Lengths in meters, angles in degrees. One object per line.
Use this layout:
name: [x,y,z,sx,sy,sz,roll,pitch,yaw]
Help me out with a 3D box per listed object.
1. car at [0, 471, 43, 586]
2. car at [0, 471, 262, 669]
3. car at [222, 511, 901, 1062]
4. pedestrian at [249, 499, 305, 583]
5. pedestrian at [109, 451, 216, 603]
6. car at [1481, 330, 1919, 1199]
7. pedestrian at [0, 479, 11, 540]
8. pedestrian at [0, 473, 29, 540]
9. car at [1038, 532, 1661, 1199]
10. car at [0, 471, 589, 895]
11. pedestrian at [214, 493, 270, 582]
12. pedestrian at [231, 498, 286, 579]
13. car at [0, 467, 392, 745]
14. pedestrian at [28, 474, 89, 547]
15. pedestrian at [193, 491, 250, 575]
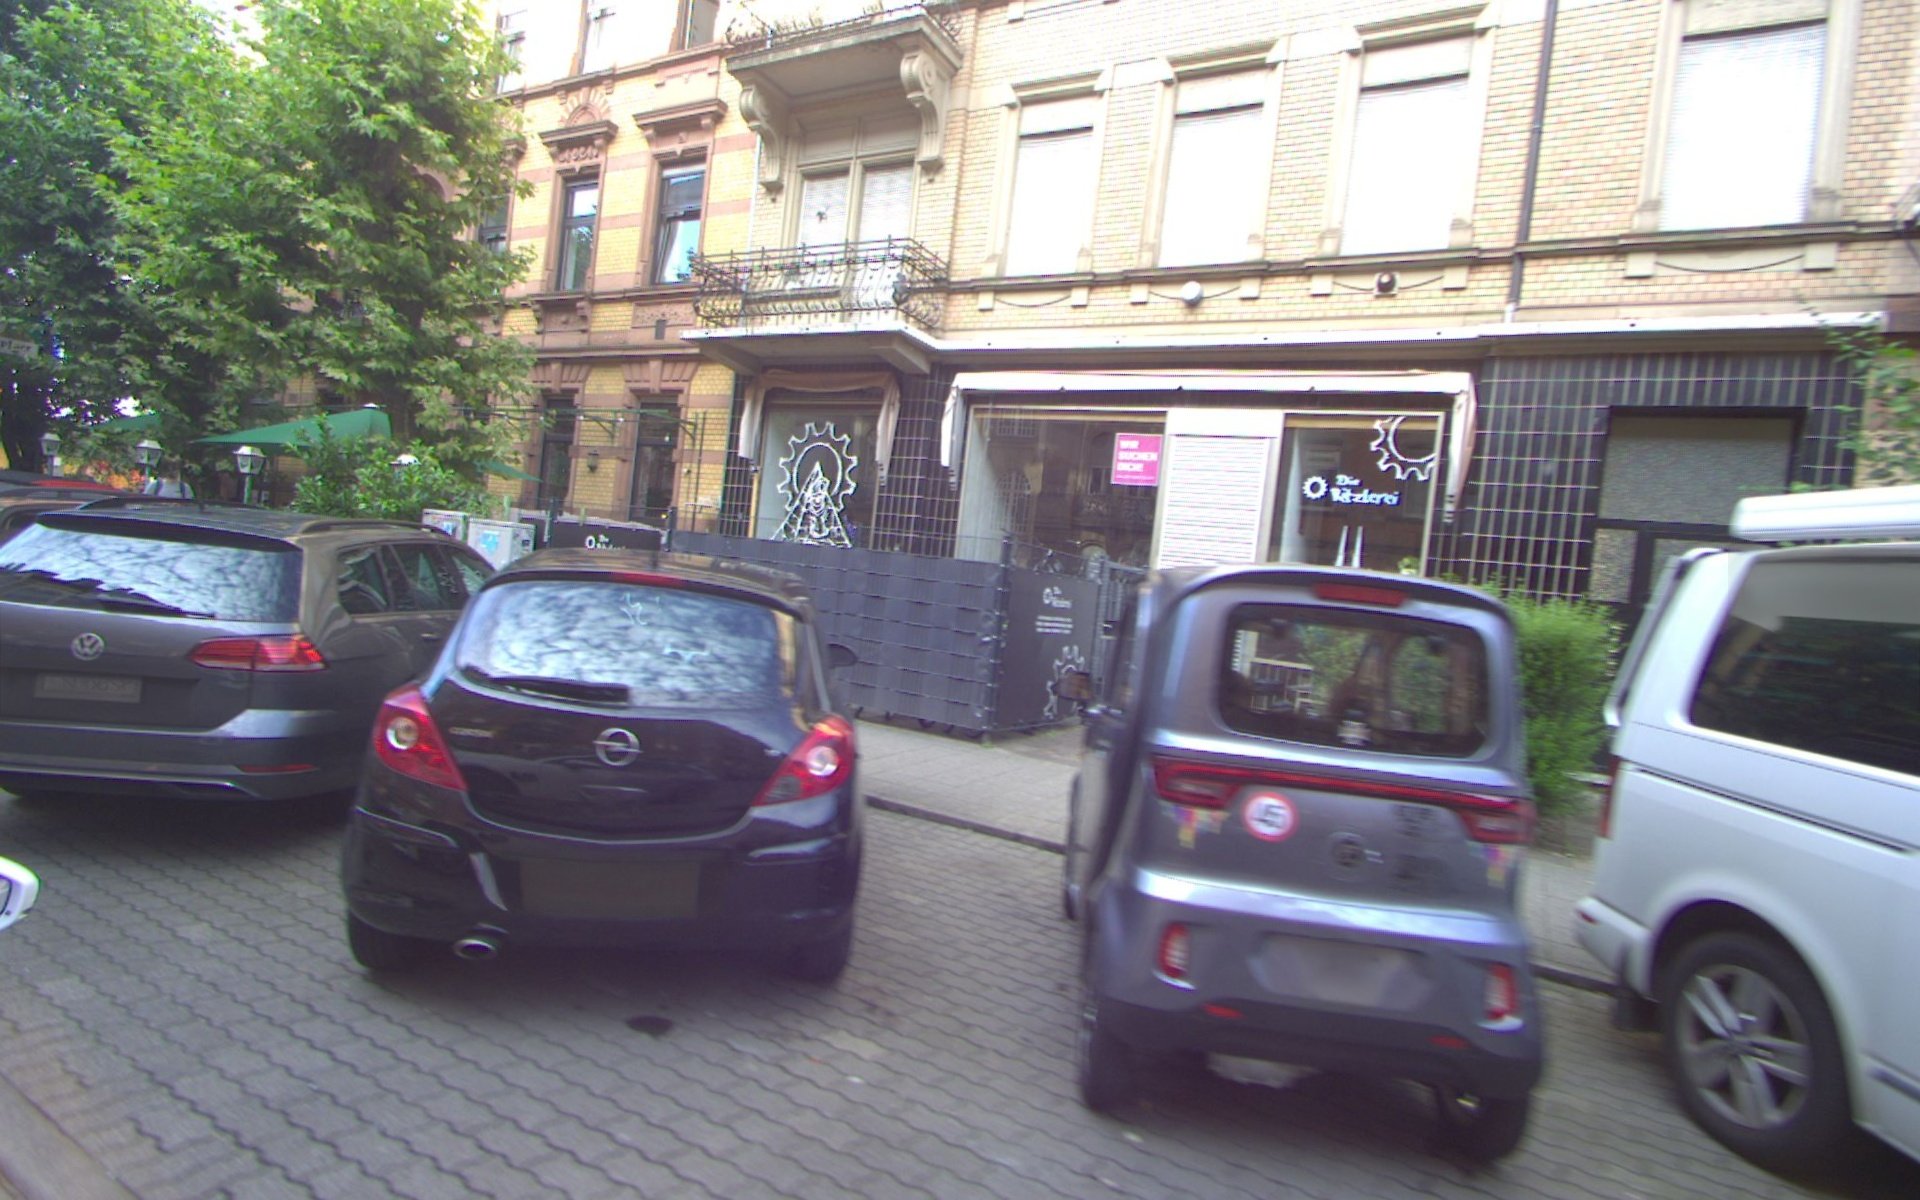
car: [-13.557,-0.984,11.270,2.018,1.476,4.764,7,2,2]
car: [-8.459,-0.376,9.275,1.711,1.504,3.711,7,2,-8]
car: [-1.472,0.506,4.845,1.722,1.478,3.983,6,1,-11]
pedestrian: [-13.809,-1.184,20.355,0.560,1.590,0.629,7,2,26]
pedestrian: [-10.710,-0.968,13.520,0.711,1.902,0.839,8,2,34]
car: [3.427,0.614,1.769,1.883,2.436,5.154,6,1,-3]
pedestrian: [-21.992,-2.089,22.590,0.586,1.359,0.758,7,1,26]
pedestrian: [-21.379,-2.116,22.298,0.690,1.425,0.798,7,1,26]
car: [1.065,0.690,3.818,1.321,1.690,2.465,7,4,4]
car: [-3.714,0.180,6.009,1.857,1.497,4.455,7,3,-9]
pedestrian: [-14.113,-1.224,19.770,0.553,1.665,0.646,7,4,26]
pedestrian: [-14.599,-1.270,20.935,0.560,1.590,0.629,7,2,26]
car: [-6.291,-0.132,7.385,1.846,1.484,4.460,7,2,-4]
pedestrian: [-19.351,-1.921,21.598,0.745,1.425,0.673,7,1,26]
pedestrian: [-14.909,-1.336,20.305,0.560,1.590,0.629,7,2,26]
